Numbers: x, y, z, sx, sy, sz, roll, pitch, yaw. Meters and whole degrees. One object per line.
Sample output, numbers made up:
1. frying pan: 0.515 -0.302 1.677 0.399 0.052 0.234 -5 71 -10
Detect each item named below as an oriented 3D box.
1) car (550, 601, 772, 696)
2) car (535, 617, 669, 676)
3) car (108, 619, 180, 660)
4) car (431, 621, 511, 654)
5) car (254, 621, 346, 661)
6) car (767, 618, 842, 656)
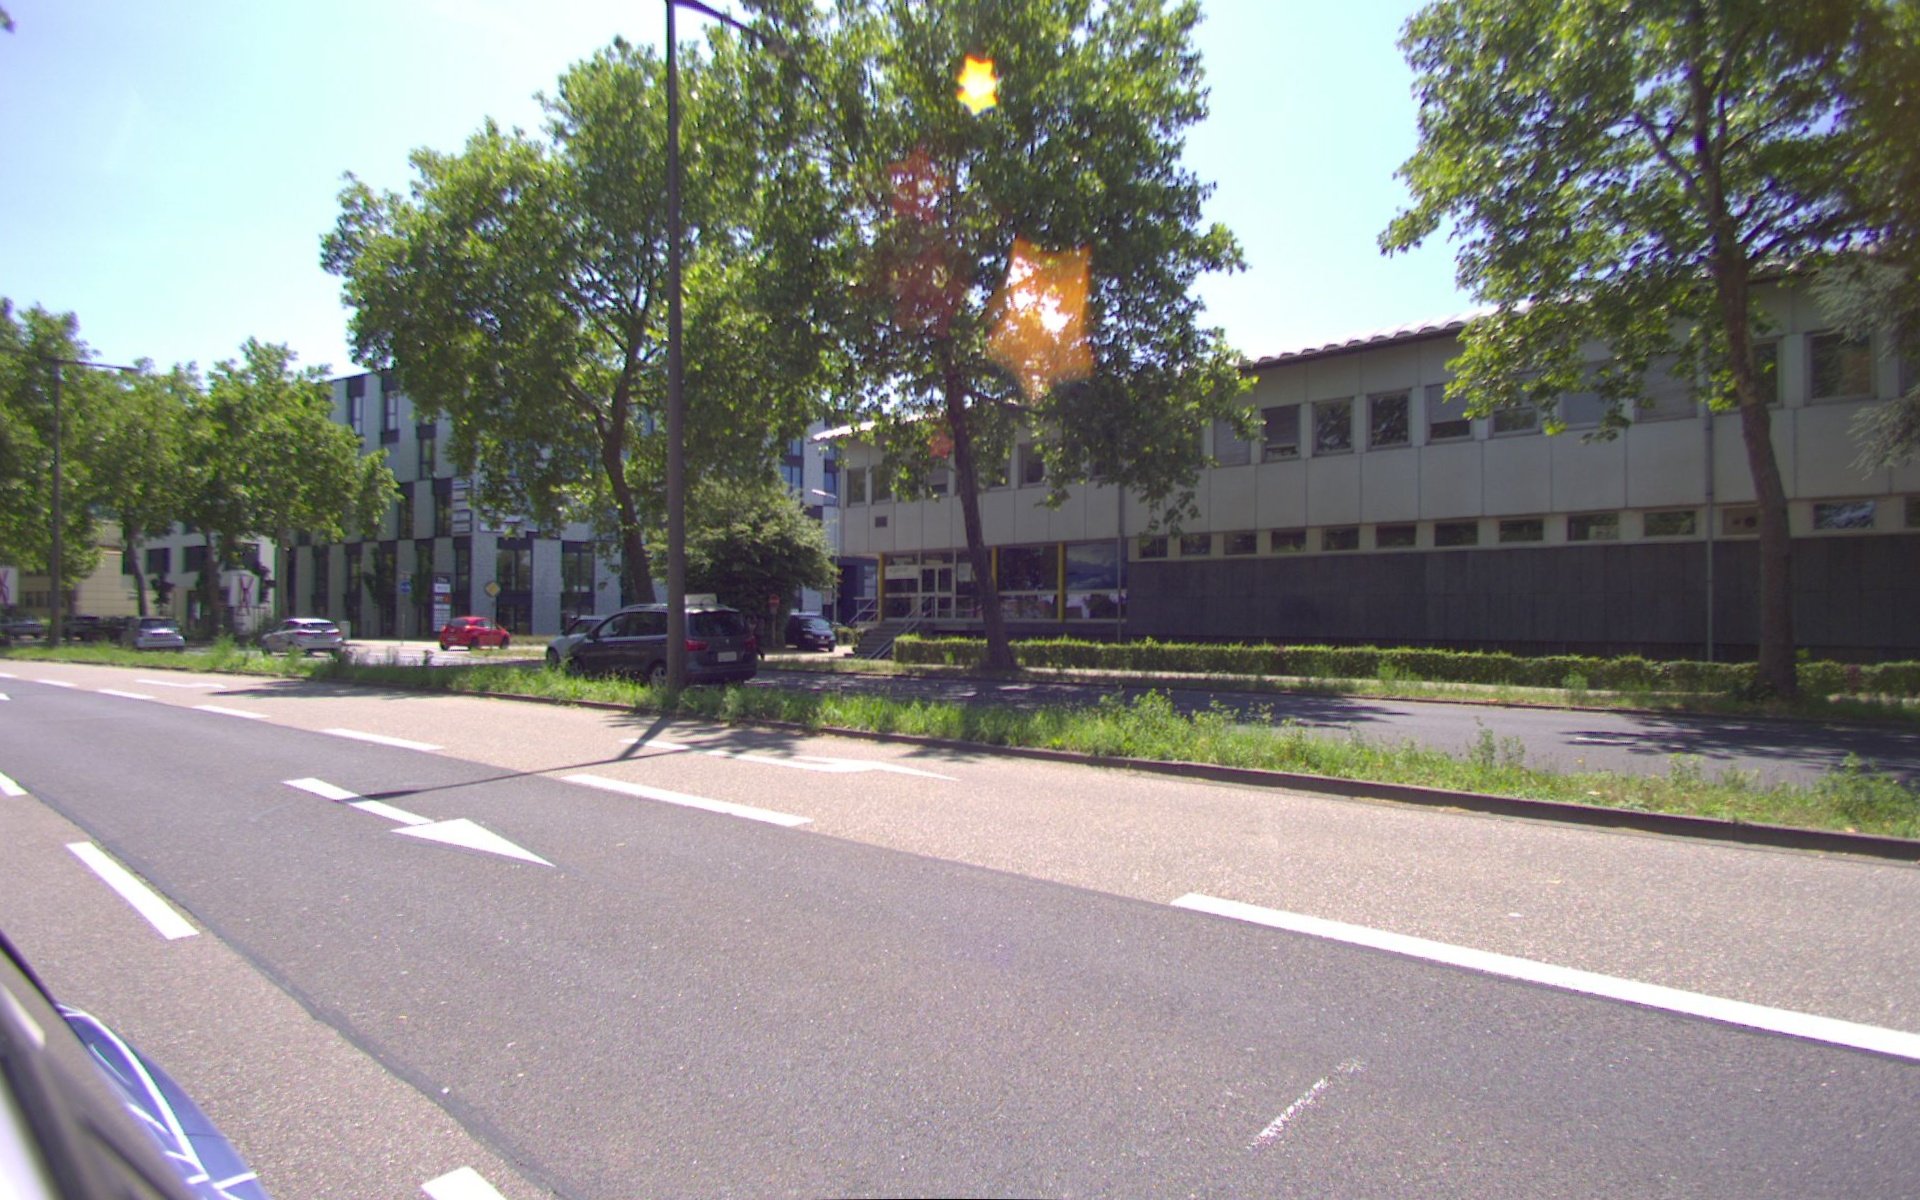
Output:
1. car: -5.999 0.911 20.056 4.615 1.668 1.930 -1 -2 39
2. car: -9.571 1.211 26.975 3.669 1.470 1.715 -1 -2 39
3. car: -32.435 1.549 40.225 2.848 1.540 1.519 -1 -2 36
4. car: -22.306 1.699 46.293 1.657 1.472 3.522 0 -2 7
5. car: -25.472 1.562 39.019 3.664 1.454 1.736 -1 -2 35
6. car: -7.450 1.729 48.341 3.528 1.660 1.795 -1 0 44
